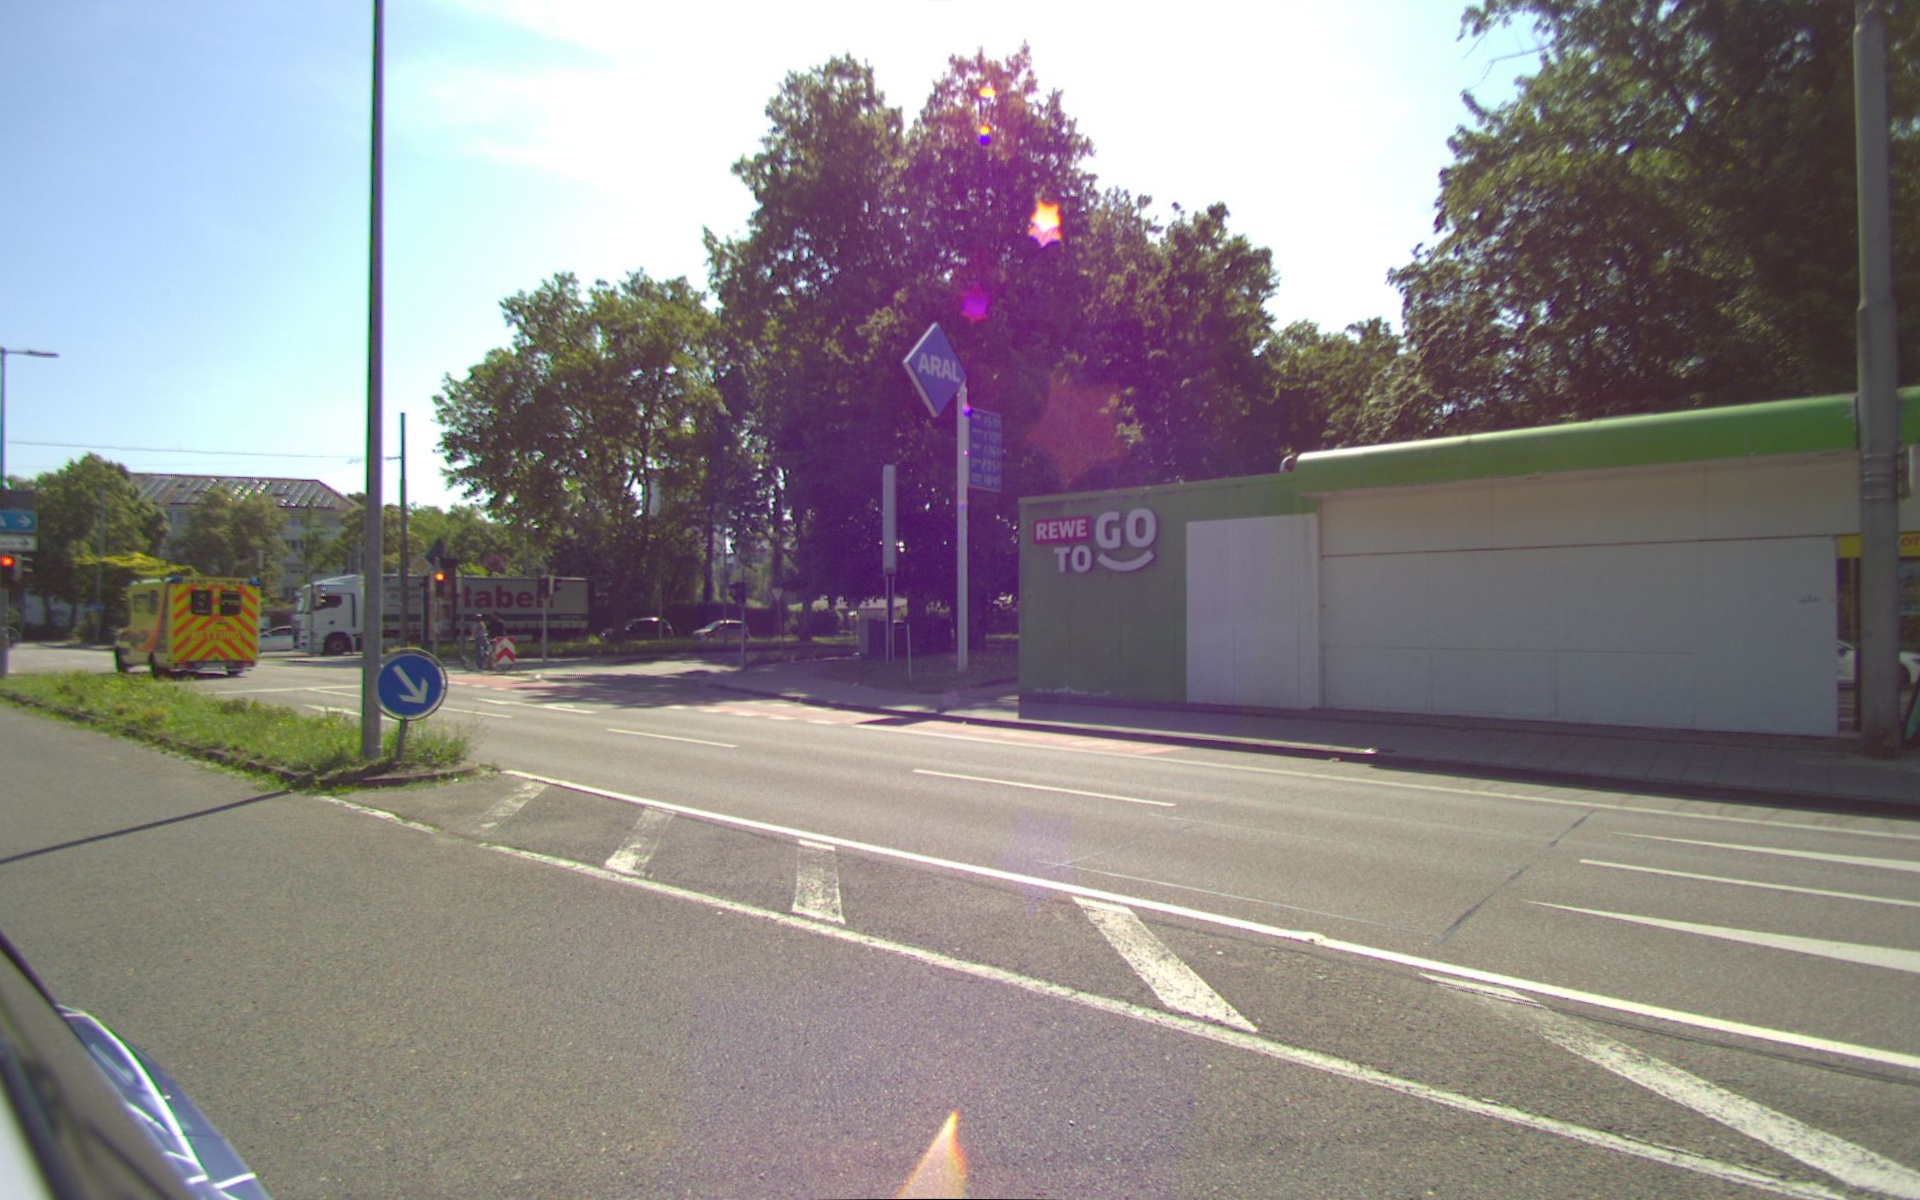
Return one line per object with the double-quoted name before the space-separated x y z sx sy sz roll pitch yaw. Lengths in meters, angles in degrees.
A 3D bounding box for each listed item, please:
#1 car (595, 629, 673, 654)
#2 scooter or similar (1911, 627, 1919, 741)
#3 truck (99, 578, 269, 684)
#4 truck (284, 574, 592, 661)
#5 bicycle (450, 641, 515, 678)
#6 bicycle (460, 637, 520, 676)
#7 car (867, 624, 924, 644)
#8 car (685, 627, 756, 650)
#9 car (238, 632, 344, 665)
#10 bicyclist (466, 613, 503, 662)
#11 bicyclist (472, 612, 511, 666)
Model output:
"car" -20.465 2.613 63.675 4.305 1.379 1.758 0 -3 -43
"scooter or similar" 11.095 0.913 10.777 0.436 1.247 1.347 1 -2 -41
"truck" -22.182 0.902 28.768 7.354 2.688 2.306 -2 -3 40
"truck" -26.708 0.955 52.970 2.856 4.038 14.093 -2 -3 45
"bicycle" -14.347 1.777 30.385 2.068 1.066 0.745 -2 -2 31
"bicycle" -15.043 1.791 32.348 2.210 1.184 0.927 -2 -2 41
"car" -5.039 2.629 79.109 4.305 1.379 1.758 0 -3 -43
"car" -16.098 2.600 68.135 4.305 1.379 1.758 0 -3 -43
"car" -34.367 2.471 52.126 4.321 1.522 1.762 -1 -2 -25
"bicyclist" -14.226 1.130 30.278 0.736 1.431 0.702 -3 -2 31
"bicyclist" -14.942 1.232 32.260 0.826 1.687 0.827 -4 -2 39
